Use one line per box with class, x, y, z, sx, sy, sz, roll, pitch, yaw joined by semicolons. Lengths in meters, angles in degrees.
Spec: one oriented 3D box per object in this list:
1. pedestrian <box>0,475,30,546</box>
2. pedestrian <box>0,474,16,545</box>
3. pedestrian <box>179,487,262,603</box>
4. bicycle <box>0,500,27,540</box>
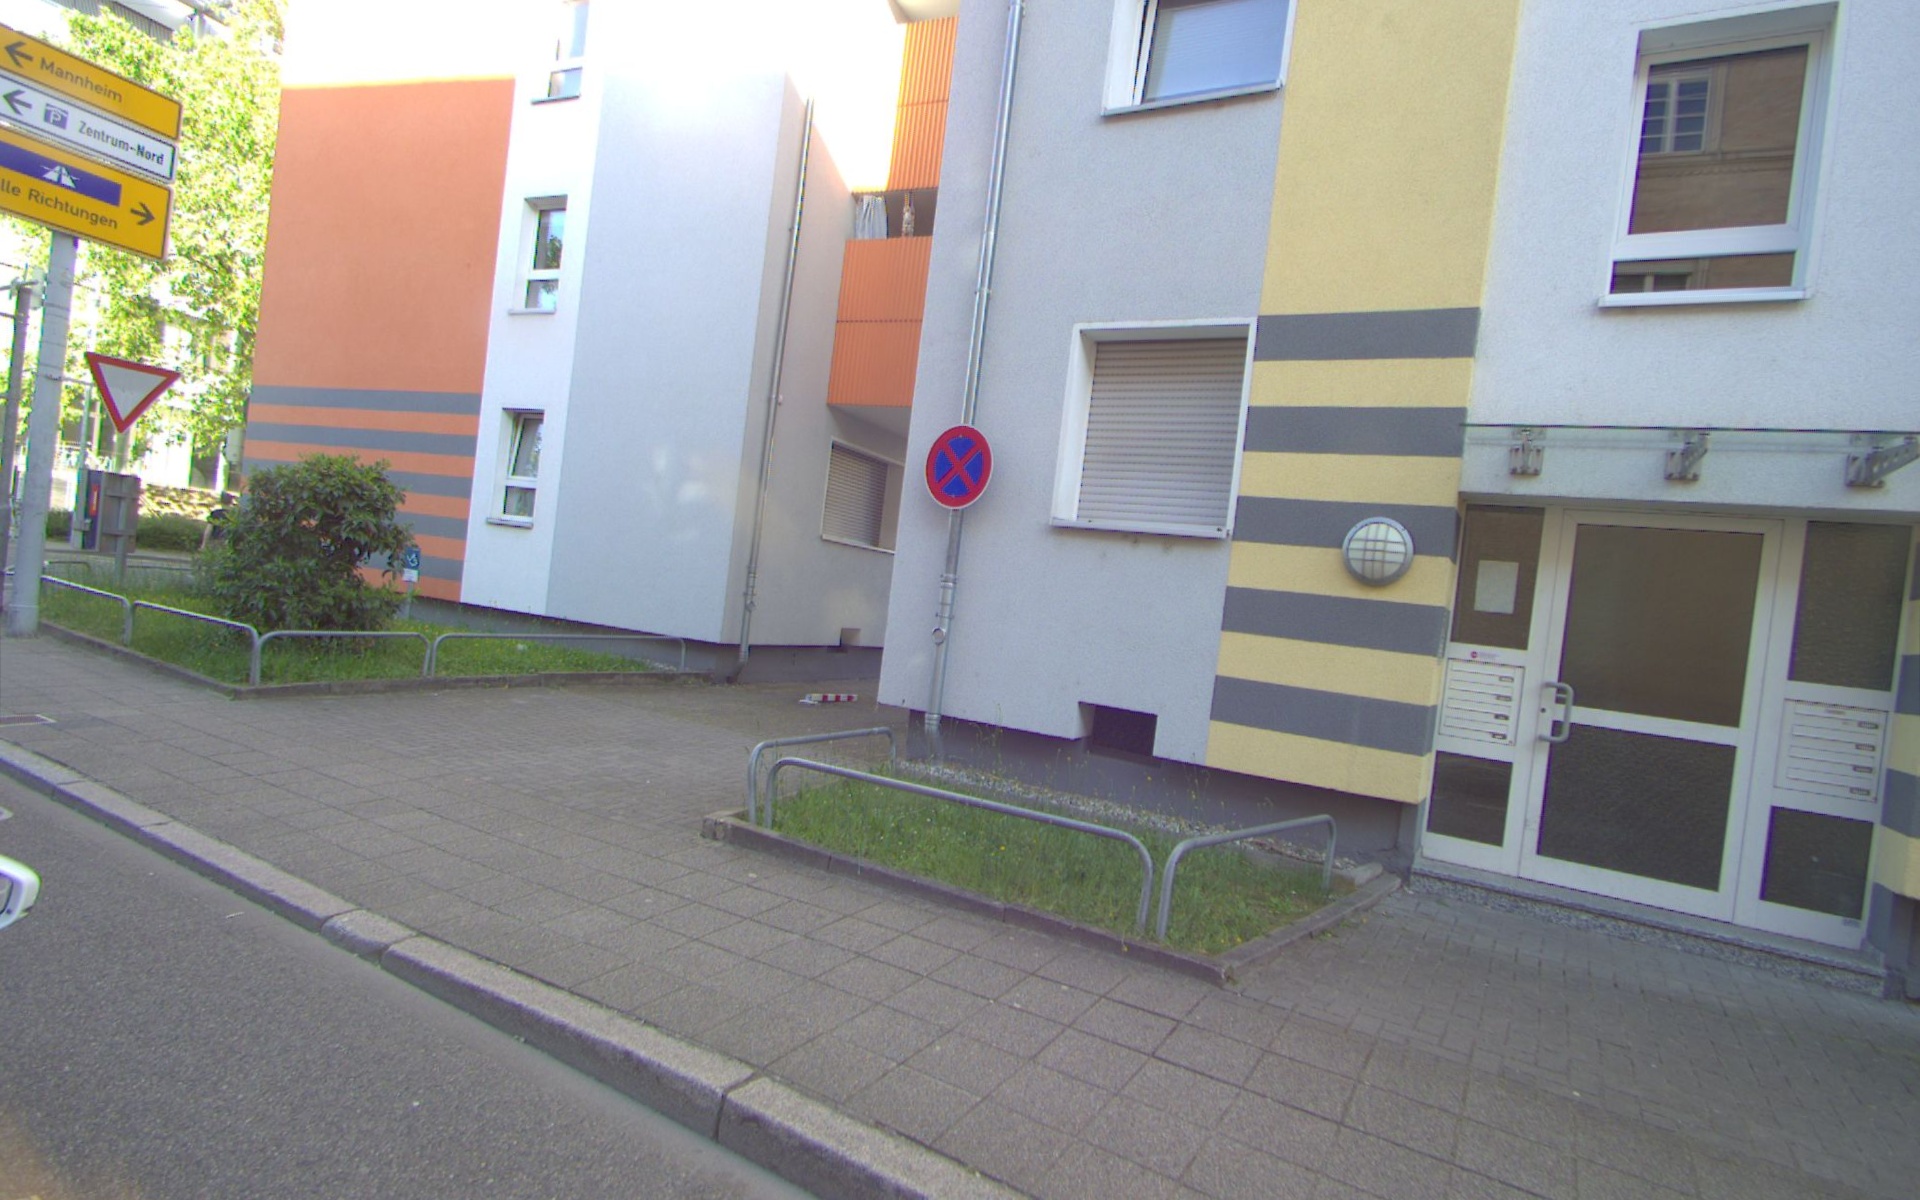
pedestrian;-24.788;-2.335;26.052;0.637;1.739;0.766;6;-1;34
pedestrian;-25.443;-2.427;26.351;0.637;1.816;0.765;6;-1;35
pedestrian;-12.538;-0.902;17.069;0.690;1.831;0.719;7;-1;-9
bicycle;-26.390;-2.242;27.391;1.409;1.021;0.379;7;1;-11
